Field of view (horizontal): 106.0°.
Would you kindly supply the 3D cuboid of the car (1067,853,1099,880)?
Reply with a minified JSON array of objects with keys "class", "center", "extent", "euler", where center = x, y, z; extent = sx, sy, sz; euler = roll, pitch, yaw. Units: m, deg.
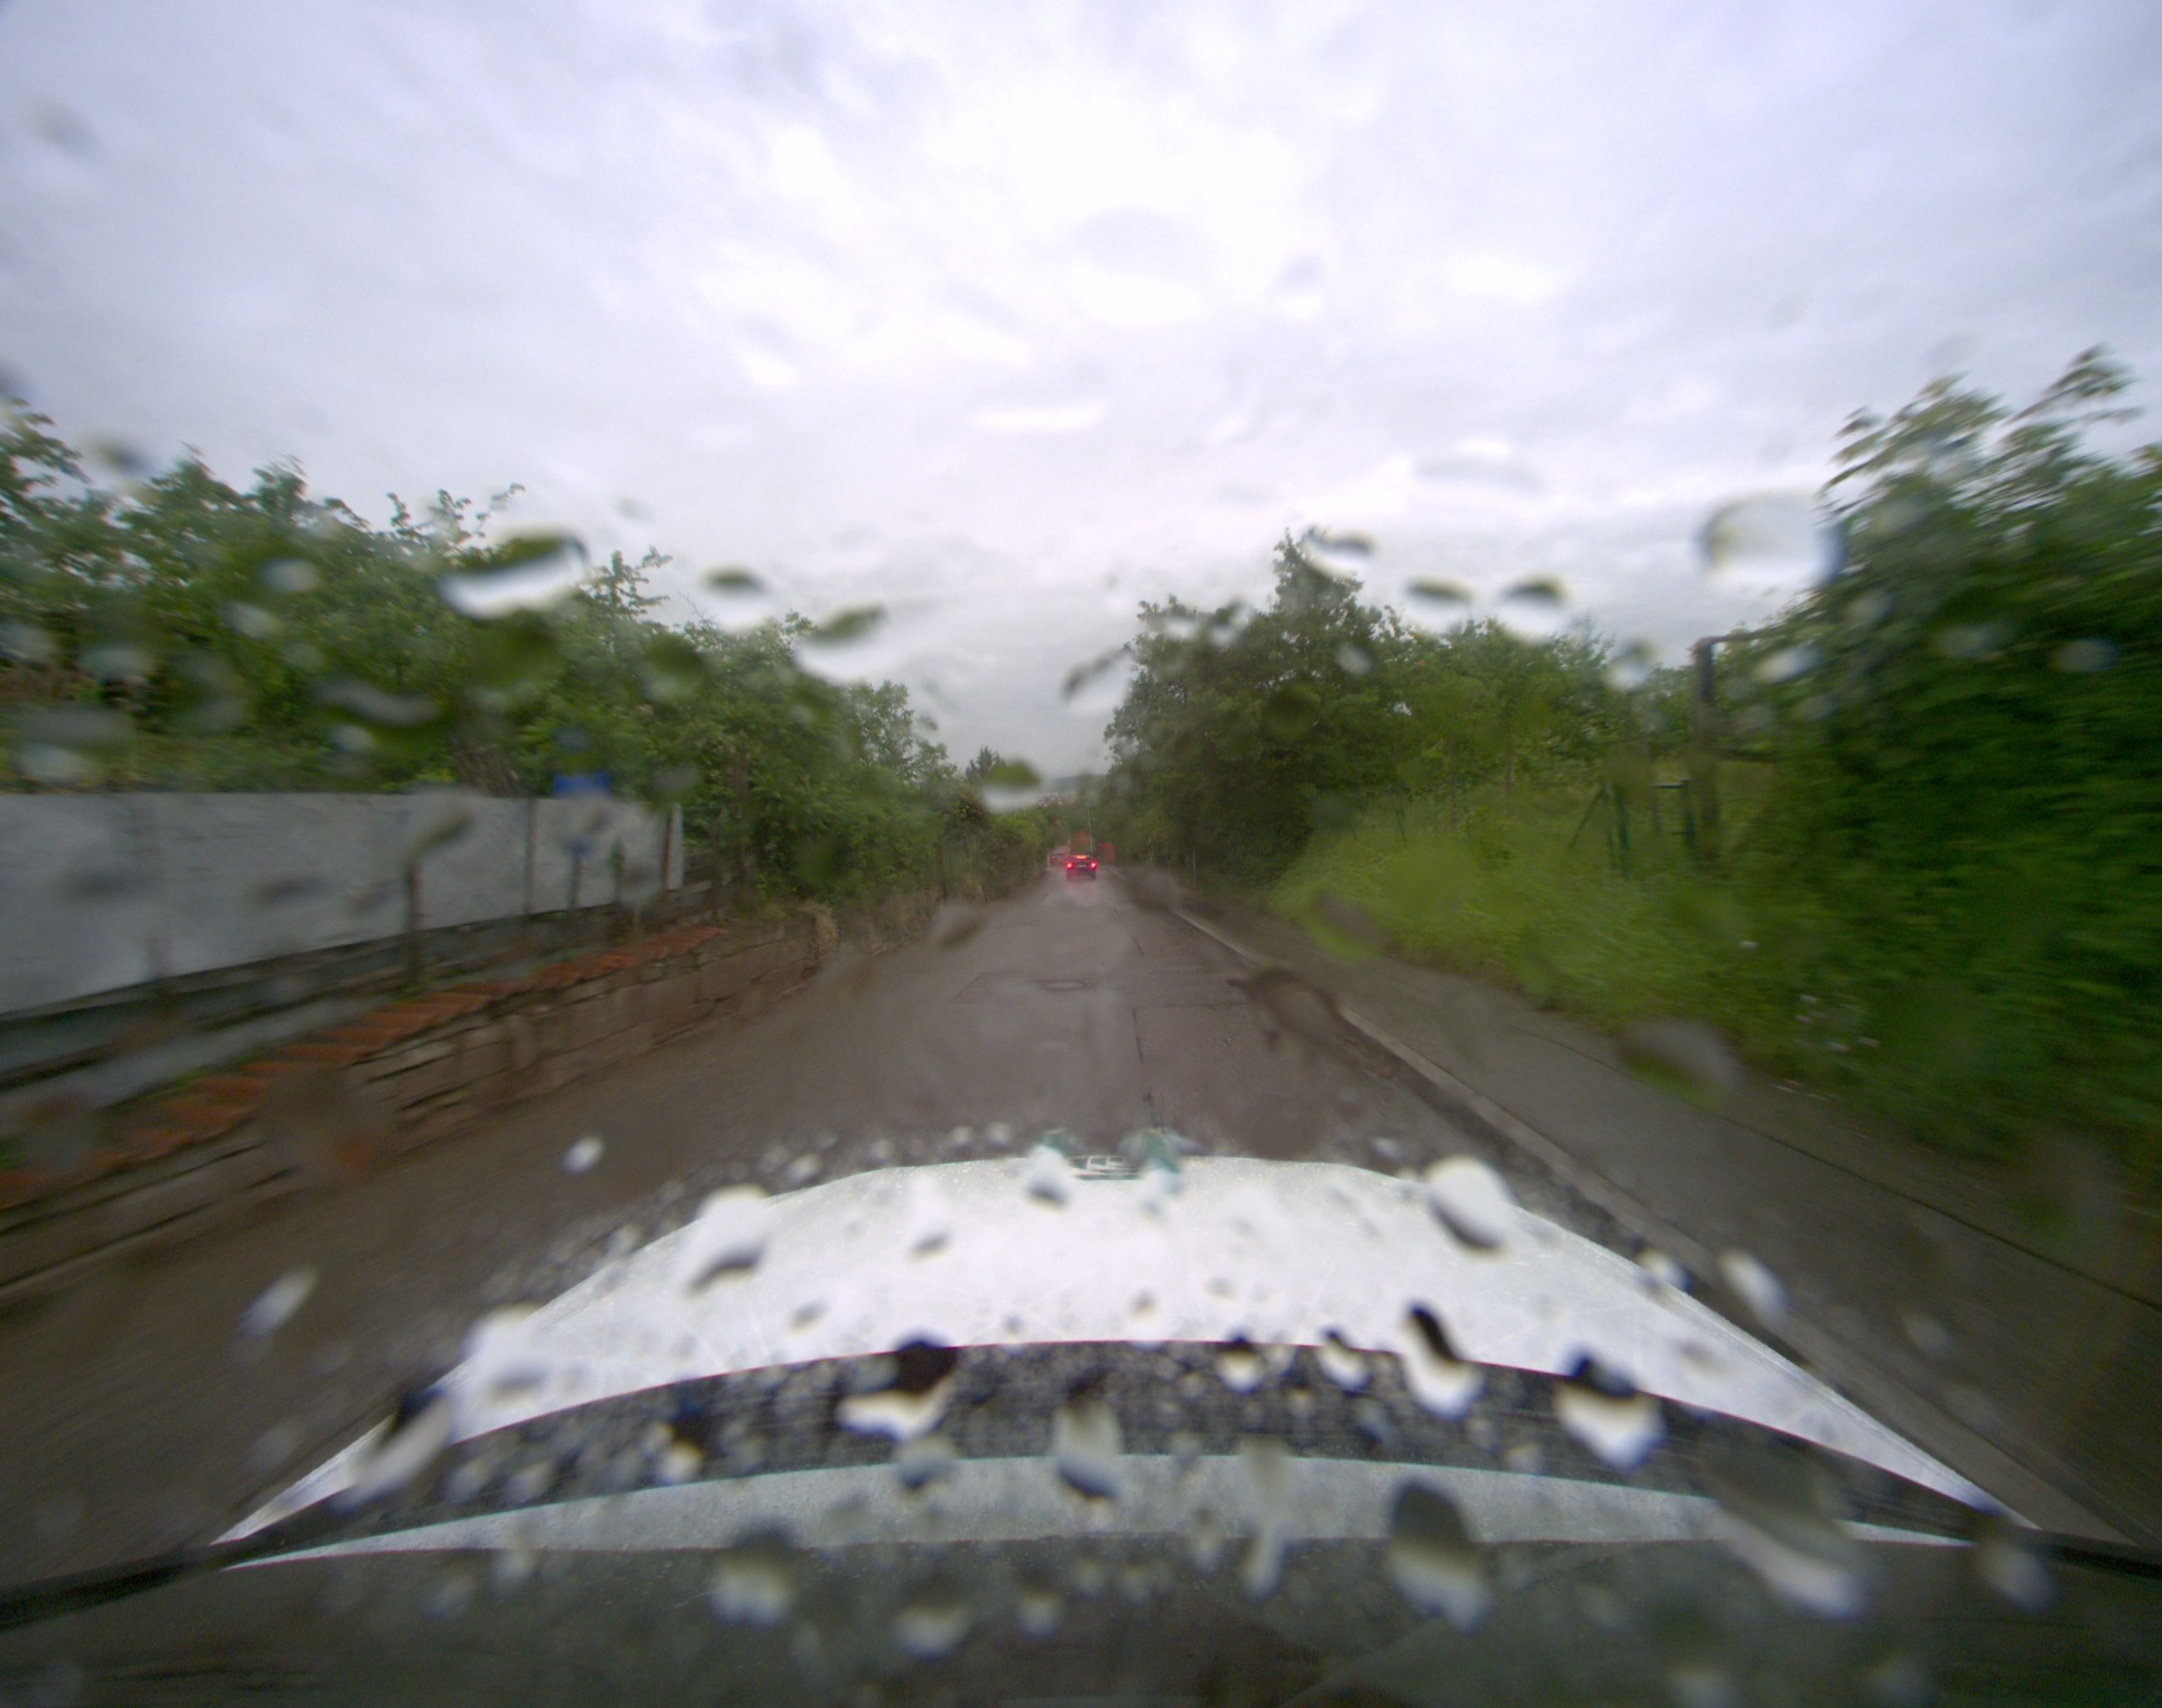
[{"class":"car","center":[0.102,0.723,49.990],"extent":[1.829,1.464,4.000],"euler":[-1,1,0]}]

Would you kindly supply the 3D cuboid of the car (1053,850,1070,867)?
[{"class":"car","center":[-2.088,0.429,84.660],"extent":[1.674,1.565,3.791],"euler":[-2,2,-2]}]
